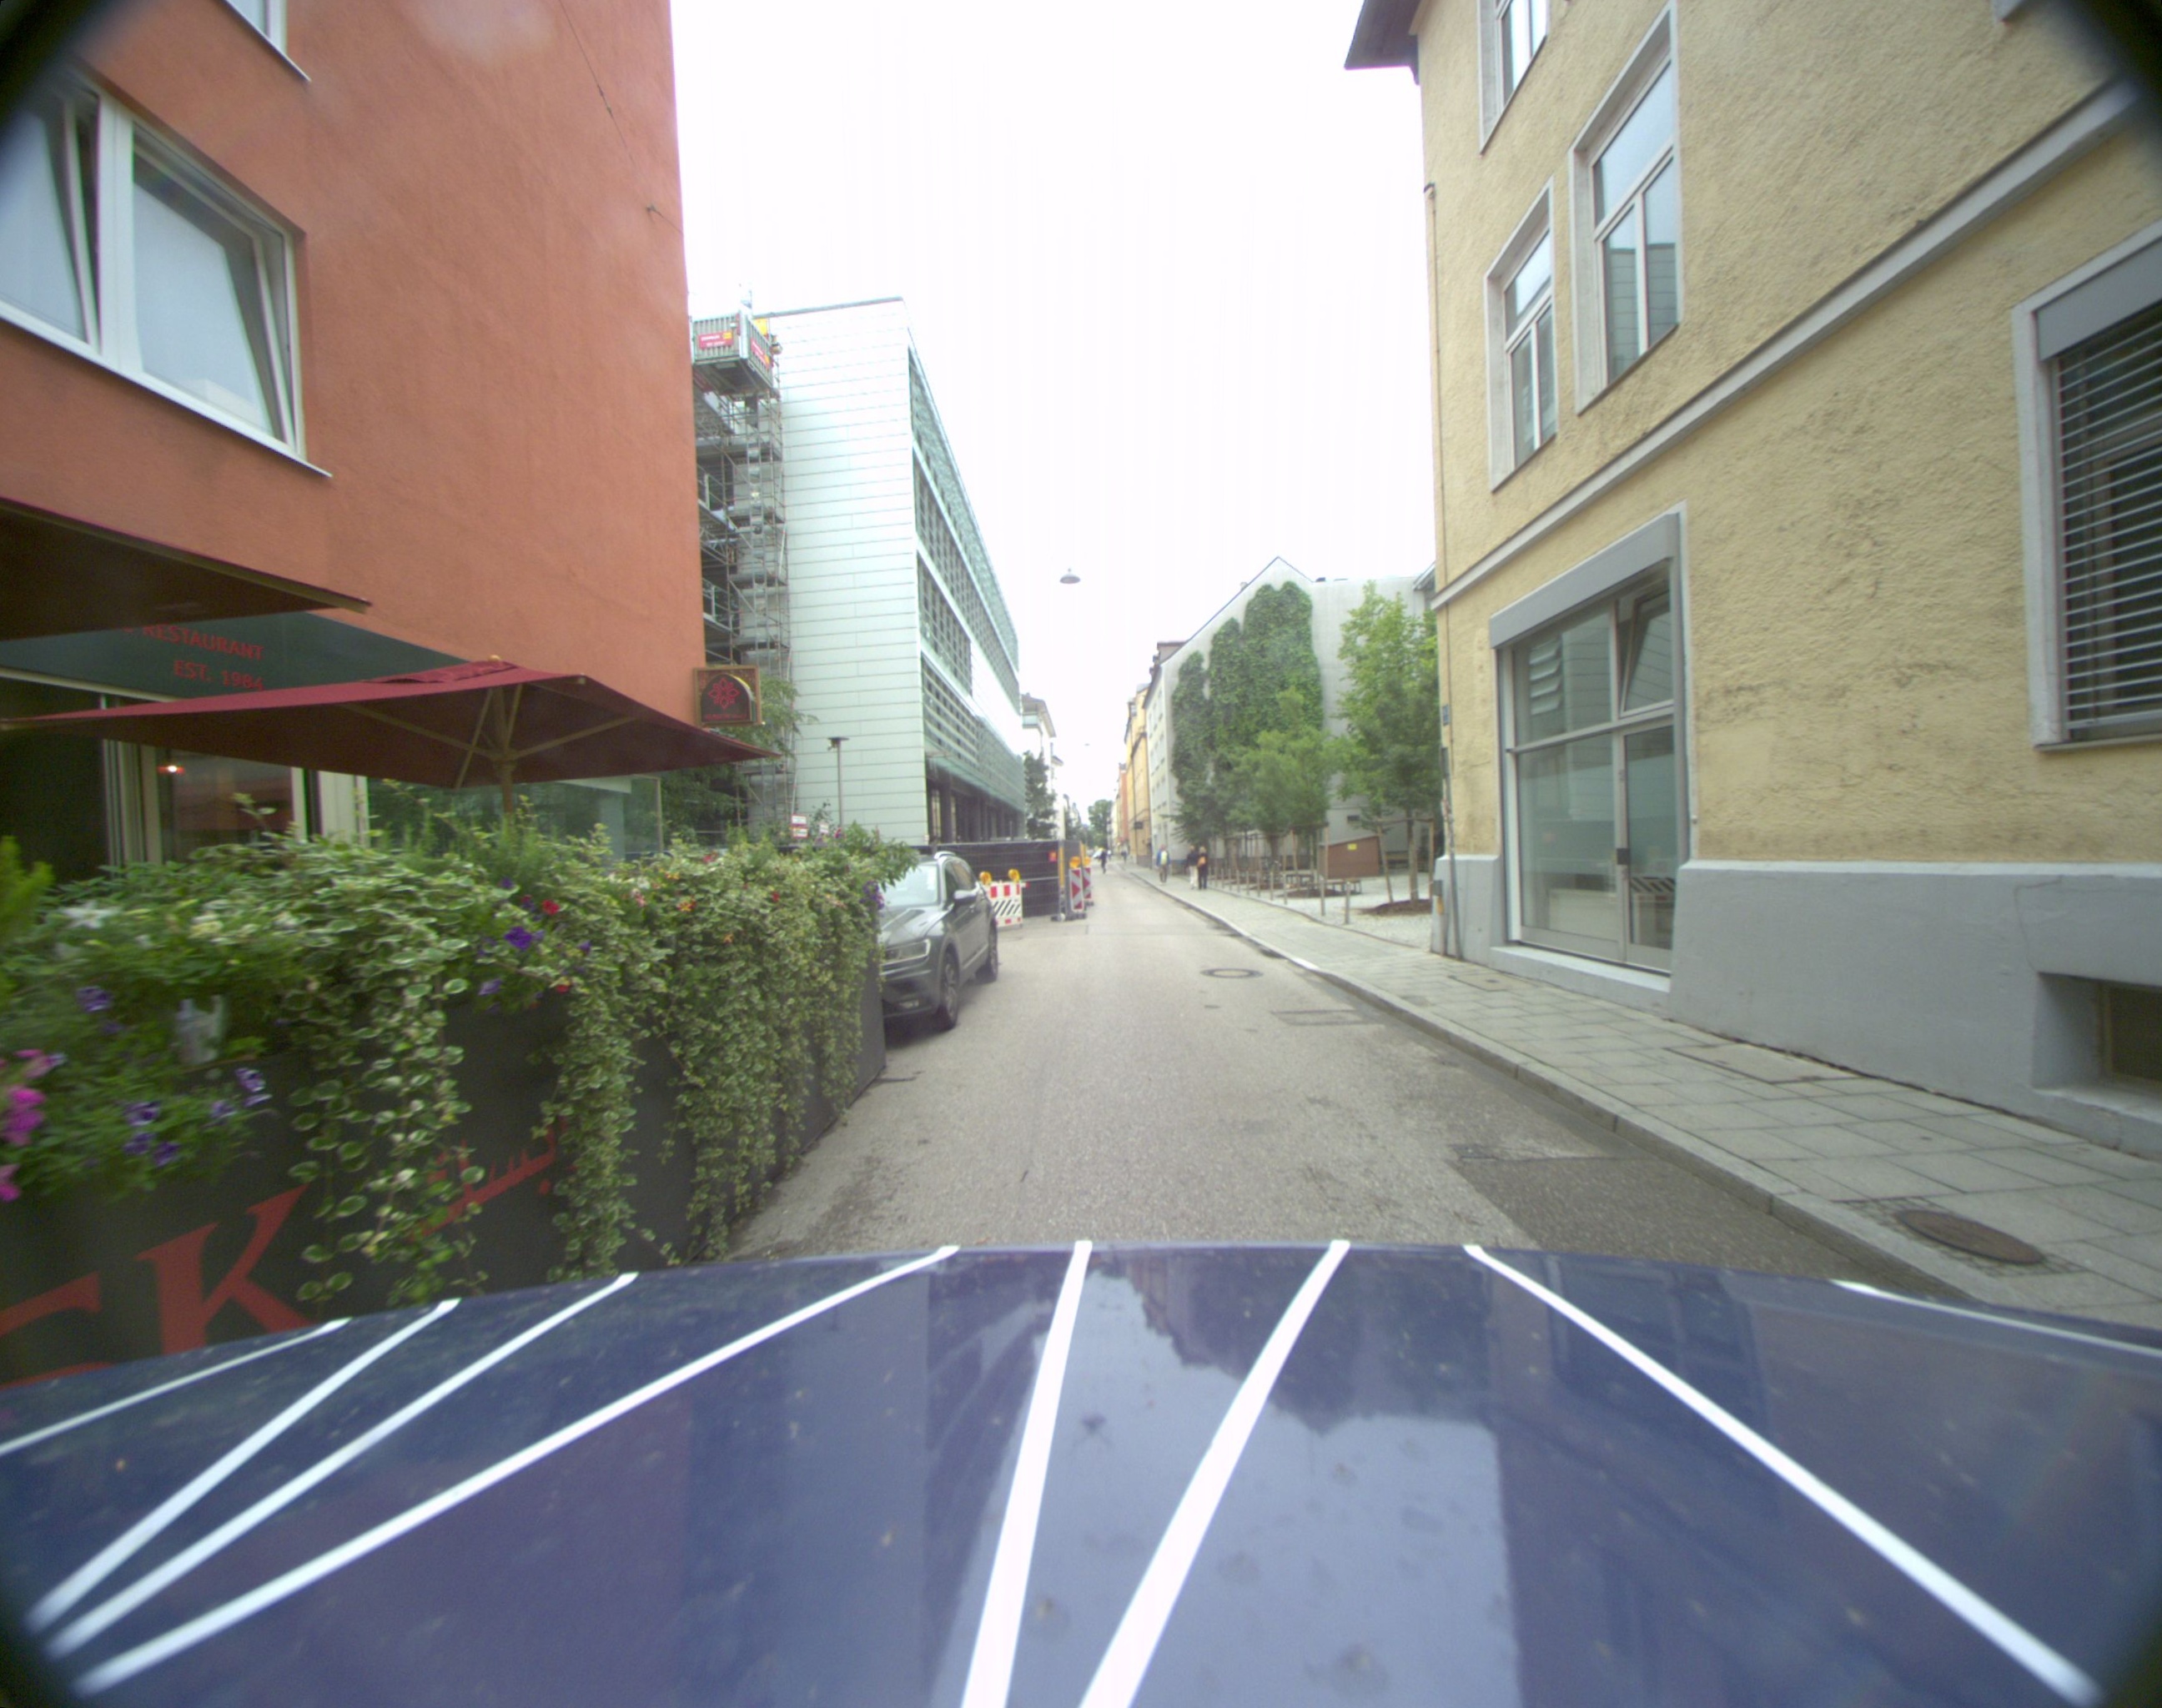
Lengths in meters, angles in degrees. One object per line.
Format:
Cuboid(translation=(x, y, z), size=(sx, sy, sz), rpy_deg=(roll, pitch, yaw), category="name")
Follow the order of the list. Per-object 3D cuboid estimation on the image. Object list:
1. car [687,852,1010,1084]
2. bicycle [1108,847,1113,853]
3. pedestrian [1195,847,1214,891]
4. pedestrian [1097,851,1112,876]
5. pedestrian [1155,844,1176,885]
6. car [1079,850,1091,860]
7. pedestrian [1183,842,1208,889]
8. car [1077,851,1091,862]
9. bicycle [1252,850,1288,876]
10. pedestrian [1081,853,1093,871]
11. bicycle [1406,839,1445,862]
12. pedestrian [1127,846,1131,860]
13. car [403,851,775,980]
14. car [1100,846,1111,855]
Cuboid(translation=(-2.022, 0.890, 8.114), size=(1.828, 1.700, 4.389), rpy_deg=(-3, 0, 3), category="car")
Cuboid(translation=(4.802, -0.620, 122.600), size=(0.700, 0.977, 1.949), rpy_deg=(-2, 1, 0), category="bicycle")
Cuboid(translation=(4.768, 0.567, 29.398), size=(0.553, 1.650, 0.997), rpy_deg=(-2, 1, 1), category="pedestrian")
Cuboid(translation=(1.852, 0.728, 59.397), size=(0.746, 1.892, 0.877), rpy_deg=(-4, 1, -31), category="pedestrian")
Cuboid(translation=(3.951, 0.483, 35.630), size=(0.861, 1.834, 0.974), rpy_deg=(-3, 1, 3), category="pedestrian")
Cuboid(translation=(0.621, 0.117, 118.950), size=(1.793, 1.550, 4.000), rpy_deg=(-2, 1, 1), category="car")
Cuboid(translation=(4.589, 0.467, 30.454), size=(0.777, 1.826, 0.991), rpy_deg=(-2, 1, 1), category="pedestrian")
Cuboid(translation=(0.444, 0.313, 96.369), size=(1.625, 1.259, 4.329), rpy_deg=(-2, 0, 1), category="car")
Cuboid(translation=(9.178, 0.422, 37.012), size=(0.714, 1.202, 1.996), rpy_deg=(-4, 1, -16), category="bicycle")
Cuboid(translation=(0.521, 0.688, 65.665), size=(0.712, 1.542, 0.775), rpy_deg=(-4, 1, -21), category="pedestrian")
Cuboid(translation=(18.357, -0.187, 40.496), size=(1.724, 1.135, 0.603), rpy_deg=(-2, 1, 7), category="bicycle")
Cuboid(translation=(6.220, -0.130, 98.615), size=(0.493, 1.814, 0.552), rpy_deg=(-2, 1, 1), category="pedestrian")
Cuboid(translation=(-7.362, 0.869, 11.706), size=(4.472, 1.710, 1.840), rpy_deg=(-2, 0, 1), category="car")
Cuboid(translation=(4.895, -0.658, 151.156), size=(1.998, 1.583, 4.375), rpy_deg=(-2, 1, 1), category="car")
